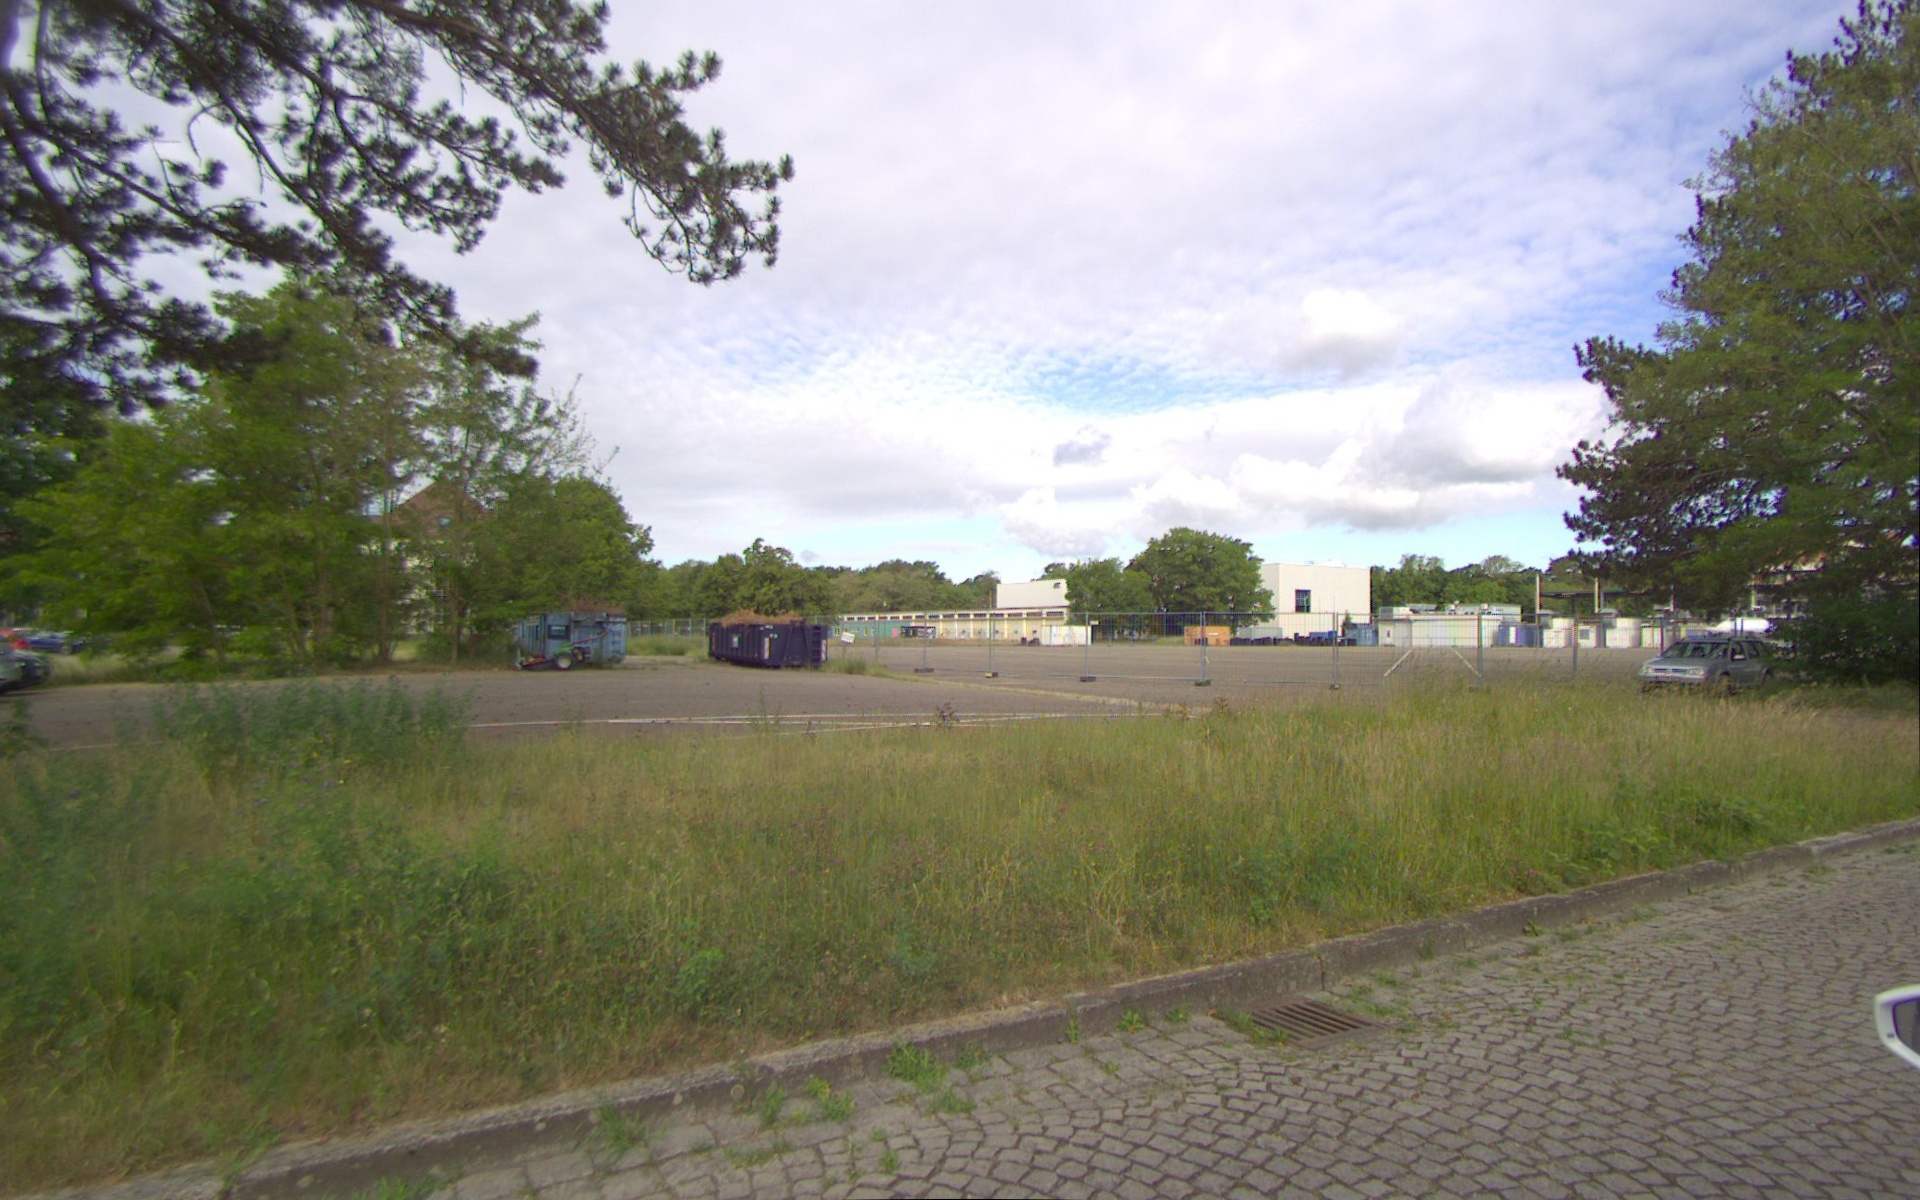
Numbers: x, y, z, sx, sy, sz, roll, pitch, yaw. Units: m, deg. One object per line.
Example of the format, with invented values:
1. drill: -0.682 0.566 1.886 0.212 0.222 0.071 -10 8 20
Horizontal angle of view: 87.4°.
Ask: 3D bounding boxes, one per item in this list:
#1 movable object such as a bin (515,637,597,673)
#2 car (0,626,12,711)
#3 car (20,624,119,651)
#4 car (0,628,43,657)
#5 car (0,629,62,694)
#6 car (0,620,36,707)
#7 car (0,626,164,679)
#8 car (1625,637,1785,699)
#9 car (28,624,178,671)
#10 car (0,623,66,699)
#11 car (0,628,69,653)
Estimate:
1. movable object such as a bin: -11.915 1.601 29.602 1.940 0.982 1.433 1 -2 -37
2. car: -17.826 1.109 15.536 4.274 1.444 1.814 1 -2 -33
3. car: -58.760 2.453 66.365 4.515 1.745 1.821 1 -2 -22
4. car: -51.779 2.255 53.210 4.351 1.495 1.816 1 -2 -31
5. car: -22.479 1.342 21.953 3.994 1.418 1.623 1 -2 -33
6. car: -19.081 1.171 17.686 3.856 1.540 1.660 -1 -1 -33
7. car: -26.186 1.546 30.033 3.554 1.495 1.665 1 -2 -33
8. car: 18.832 1.651 25.345 4.373 1.435 1.814 1 -2 -32
9. car: -28.318 1.548 33.340 3.554 1.495 1.665 1 -2 -33
10. car: -20.715 1.195 19.775 4.355 1.495 1.814 1 -2 -33
11. car: -57.633 2.451 61.433 4.351 1.495 1.816 1 -2 -31
